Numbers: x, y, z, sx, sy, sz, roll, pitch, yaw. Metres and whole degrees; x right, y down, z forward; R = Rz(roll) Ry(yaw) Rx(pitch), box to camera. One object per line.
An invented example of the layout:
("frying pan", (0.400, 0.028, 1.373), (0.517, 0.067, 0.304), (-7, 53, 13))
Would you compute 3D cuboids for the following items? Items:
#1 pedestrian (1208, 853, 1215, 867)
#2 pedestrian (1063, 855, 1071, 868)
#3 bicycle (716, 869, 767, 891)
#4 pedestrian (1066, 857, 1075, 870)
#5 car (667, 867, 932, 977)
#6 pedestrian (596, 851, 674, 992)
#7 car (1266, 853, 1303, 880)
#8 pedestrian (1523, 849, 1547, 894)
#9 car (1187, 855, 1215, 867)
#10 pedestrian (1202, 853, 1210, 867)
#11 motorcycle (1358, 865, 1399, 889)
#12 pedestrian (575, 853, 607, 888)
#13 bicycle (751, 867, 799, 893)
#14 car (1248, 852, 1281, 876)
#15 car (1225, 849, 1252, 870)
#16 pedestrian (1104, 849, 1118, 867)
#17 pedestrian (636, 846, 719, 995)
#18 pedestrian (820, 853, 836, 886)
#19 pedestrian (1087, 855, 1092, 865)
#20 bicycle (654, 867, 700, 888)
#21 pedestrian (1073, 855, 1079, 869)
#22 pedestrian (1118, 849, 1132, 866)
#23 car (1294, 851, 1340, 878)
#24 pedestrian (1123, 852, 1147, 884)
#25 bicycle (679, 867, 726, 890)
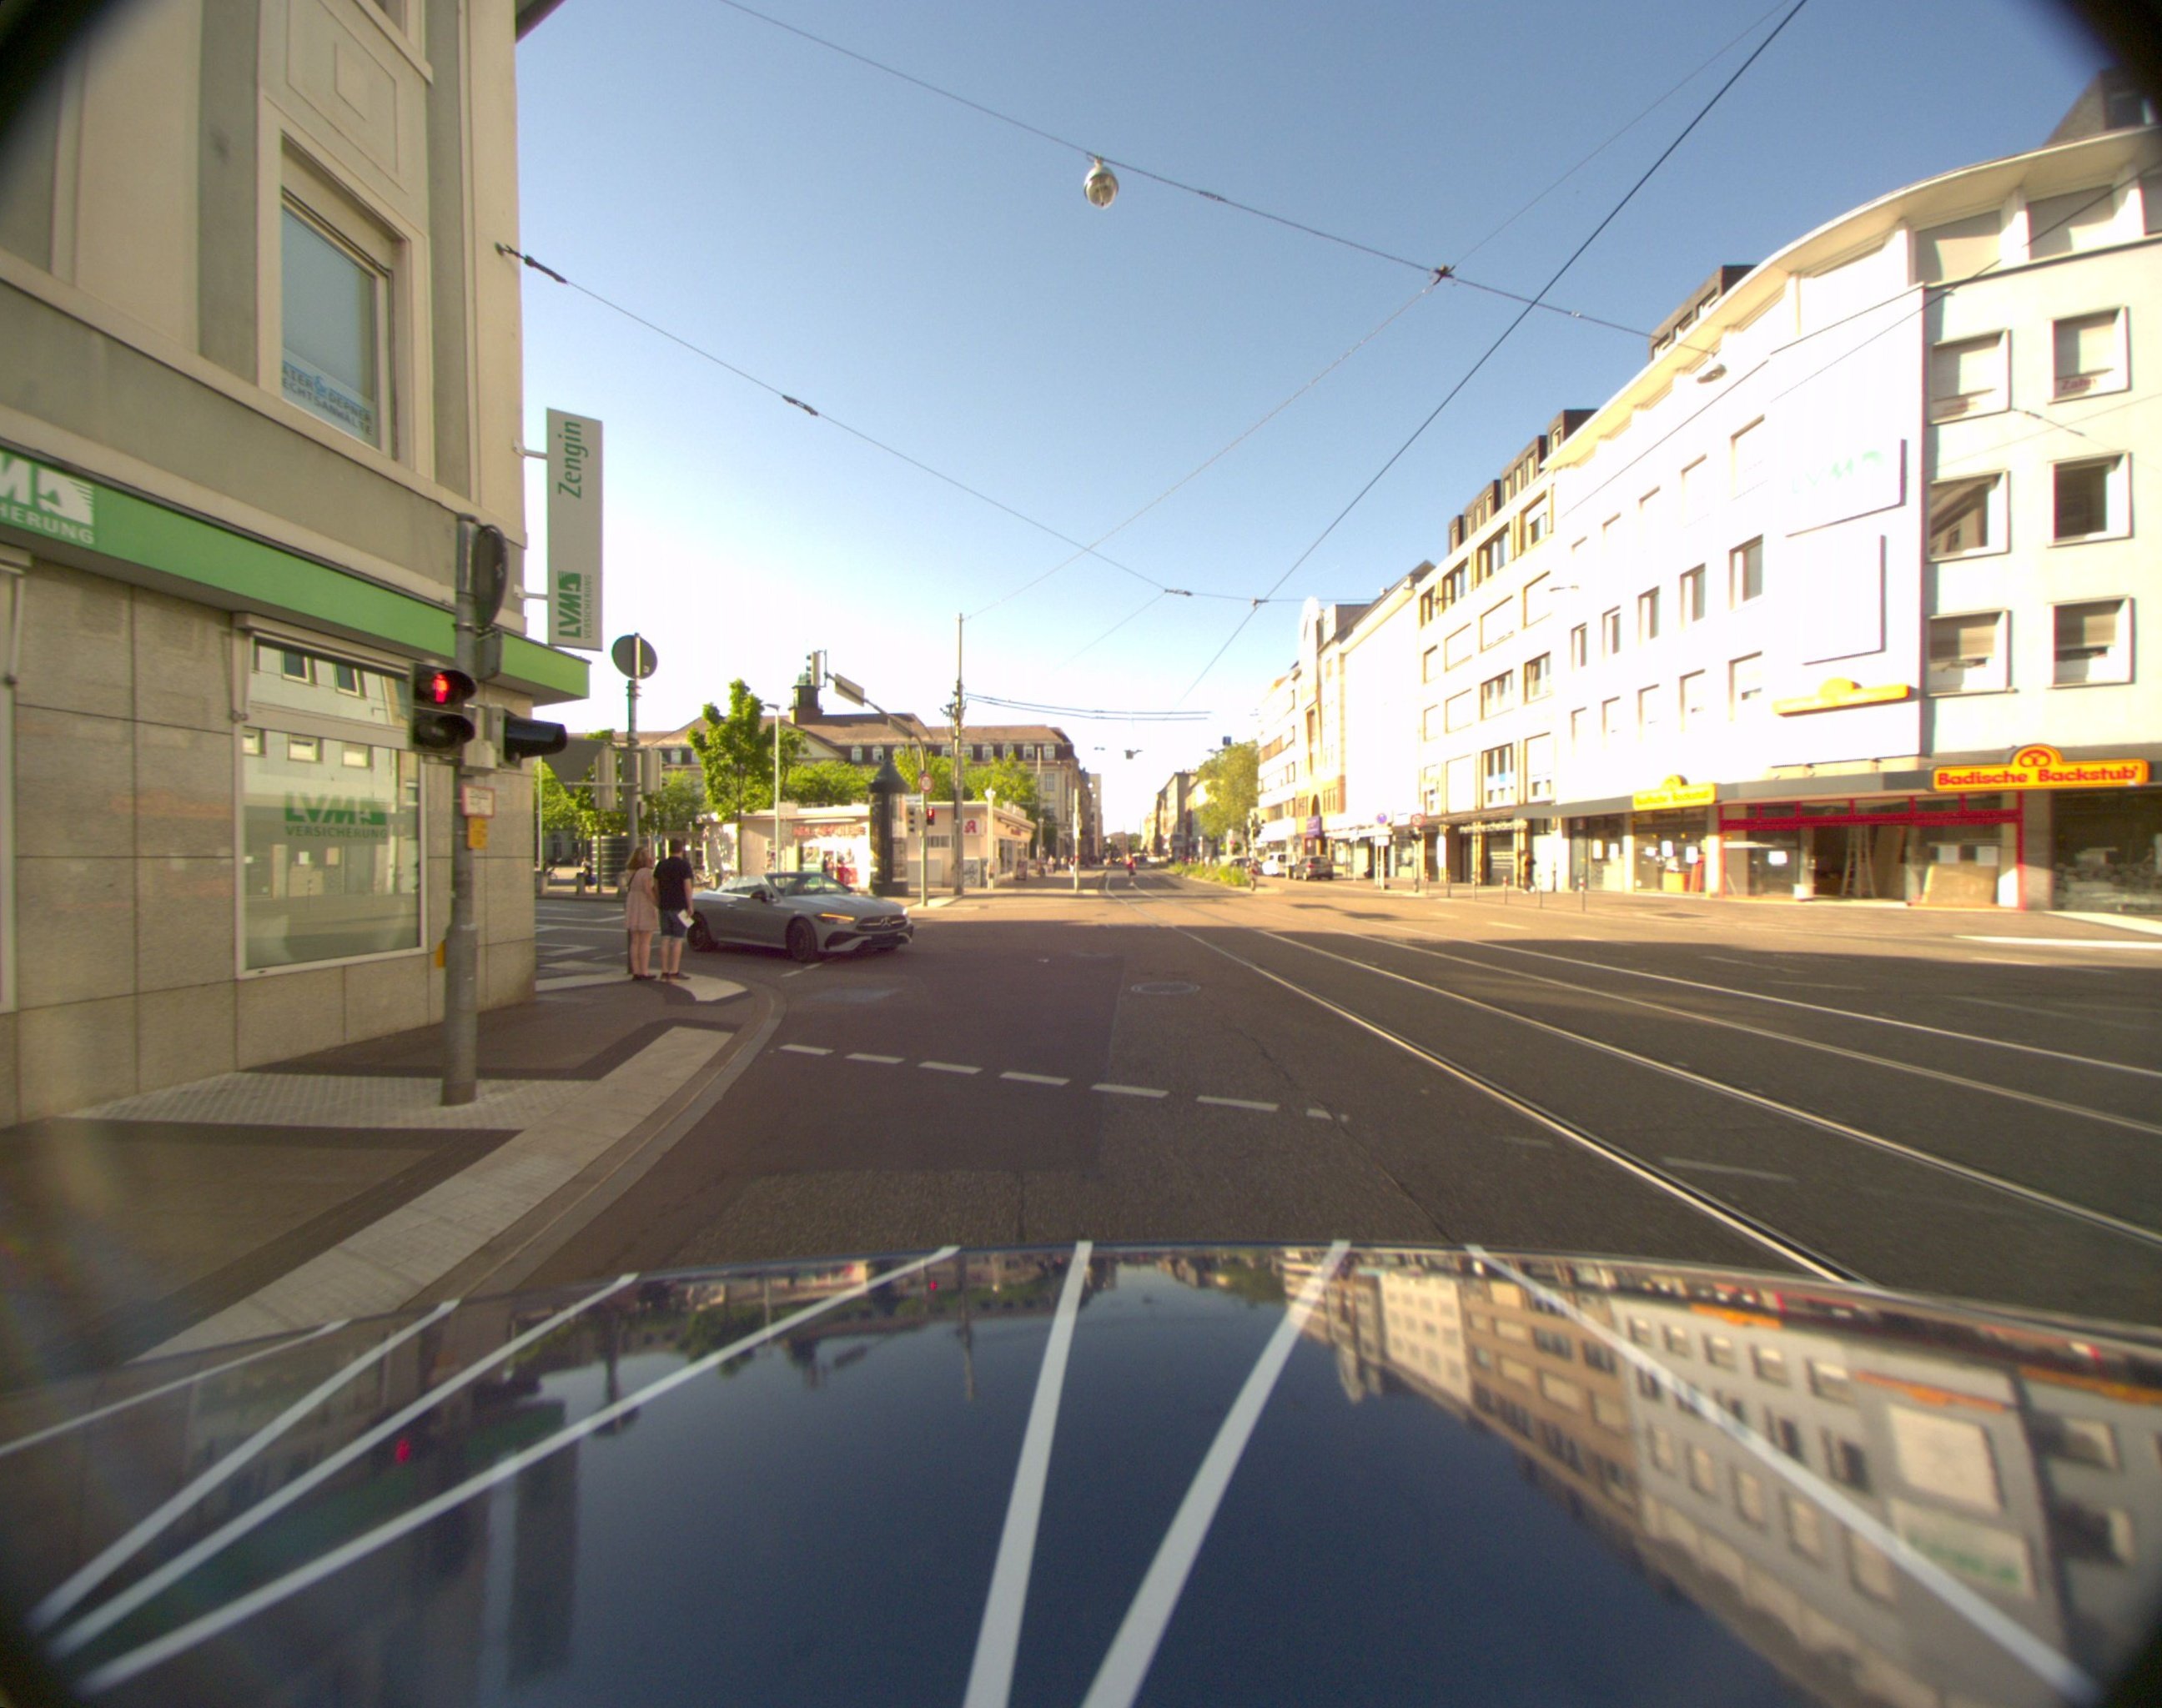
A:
("pedestrian", (15.135, 0.700, 88.201), (0.708, 1.705, 0.578), (-1, 1, -44))
("pedestrian", (-1.252, 0.690, 69.815), (0.622, 1.266, 0.780), (0, 0, 7))
("bicycle", (-16.025, 1.216, 35.927), (0.885, 0.996, 2.023), (0, 1, 41))
("pedestrian", (-1.199, 1.132, 88.702), (0.946, 1.456, 0.780), (0, 0, 4))
("car", (-4.820, 1.018, 12.870), (4.351, 1.454, 1.915), (0, 2, 32))
("pedestrian", (-5.740, 0.839, 9.796), (0.648, 1.749, 0.575), (0, 1, 26))
("car", (15.653, 0.958, 58.723), (1.998, 2.002, 4.844), (0, 0, 6))
("pedestrian", (17.297, 0.656, 28.975), (0.710, 1.699, 0.561), (0, 0, 24))
("car", (17.973, 1.042, 113.996), (3.996, 1.787, 2.001), (0, 0, 3))
("pedestrian", (14.596, 0.698, 88.824), (0.708, 1.615, 0.578), (-1, 1, -44))
("motorcycle", (19.515, 1.498, 49.882), (2.254, 1.496, 1.000), (0, 0, 0))
("pedestrian", (-24.663, 0.814, 38.243), (1.083, 1.688, 0.904), (0, 1, 30))
("bicycle", (-14.000, 1.180, 34.860), (0.751, 1.082, 1.998), (0, 1, 29))
("car", (15.530, 0.827, 64.399), (1.998, 2.002, 4.001), (0, 0, 3))
("car", (15.692, 0.557, 75.686), (1.998, 2.002, 4.001), (0, 0, 3))
("pedestrian", (4.833, 0.621, 121.705), (1.947, 2.774, 1.381), (0, 1, 20))
("pedestrian", (-5.163, 0.814, 9.735), (0.680, 1.831, 0.643), (0, 0, 26))
("pedestrian", (-12.977, 0.801, 38.987), (0.610, 1.699, 0.522), (0, 0, 26))
("pedestrian", (1.206, 0.885, 104.690), (0.691, 1.372, 0.780), (0, 0, 4))
("bicycle", (-20.208, 1.167, 38.048), (0.763, 0.996, 1.895), (0, 1, 35))
("pedestrian", (-0.475, 0.712, 70.134), (0.509, 1.266, 0.720), (0, 0, 7))
("pedestrian", (7.054, 0.592, 122.252), (1.836, 2.774, 1.295), (0, 1, 20))
("car", (15.601, 0.693, 50.431), (1.998, 1.696, 4.001), (0, 0, 3))
("pedestrian", (2.849, 0.746, 40.153), (0.947, 1.653, 0.915), (0, 0, -22))
("bicycle", (-18.142, 1.167, 36.460), (0.763, 0.996, 1.895), (0, 1, 35))
